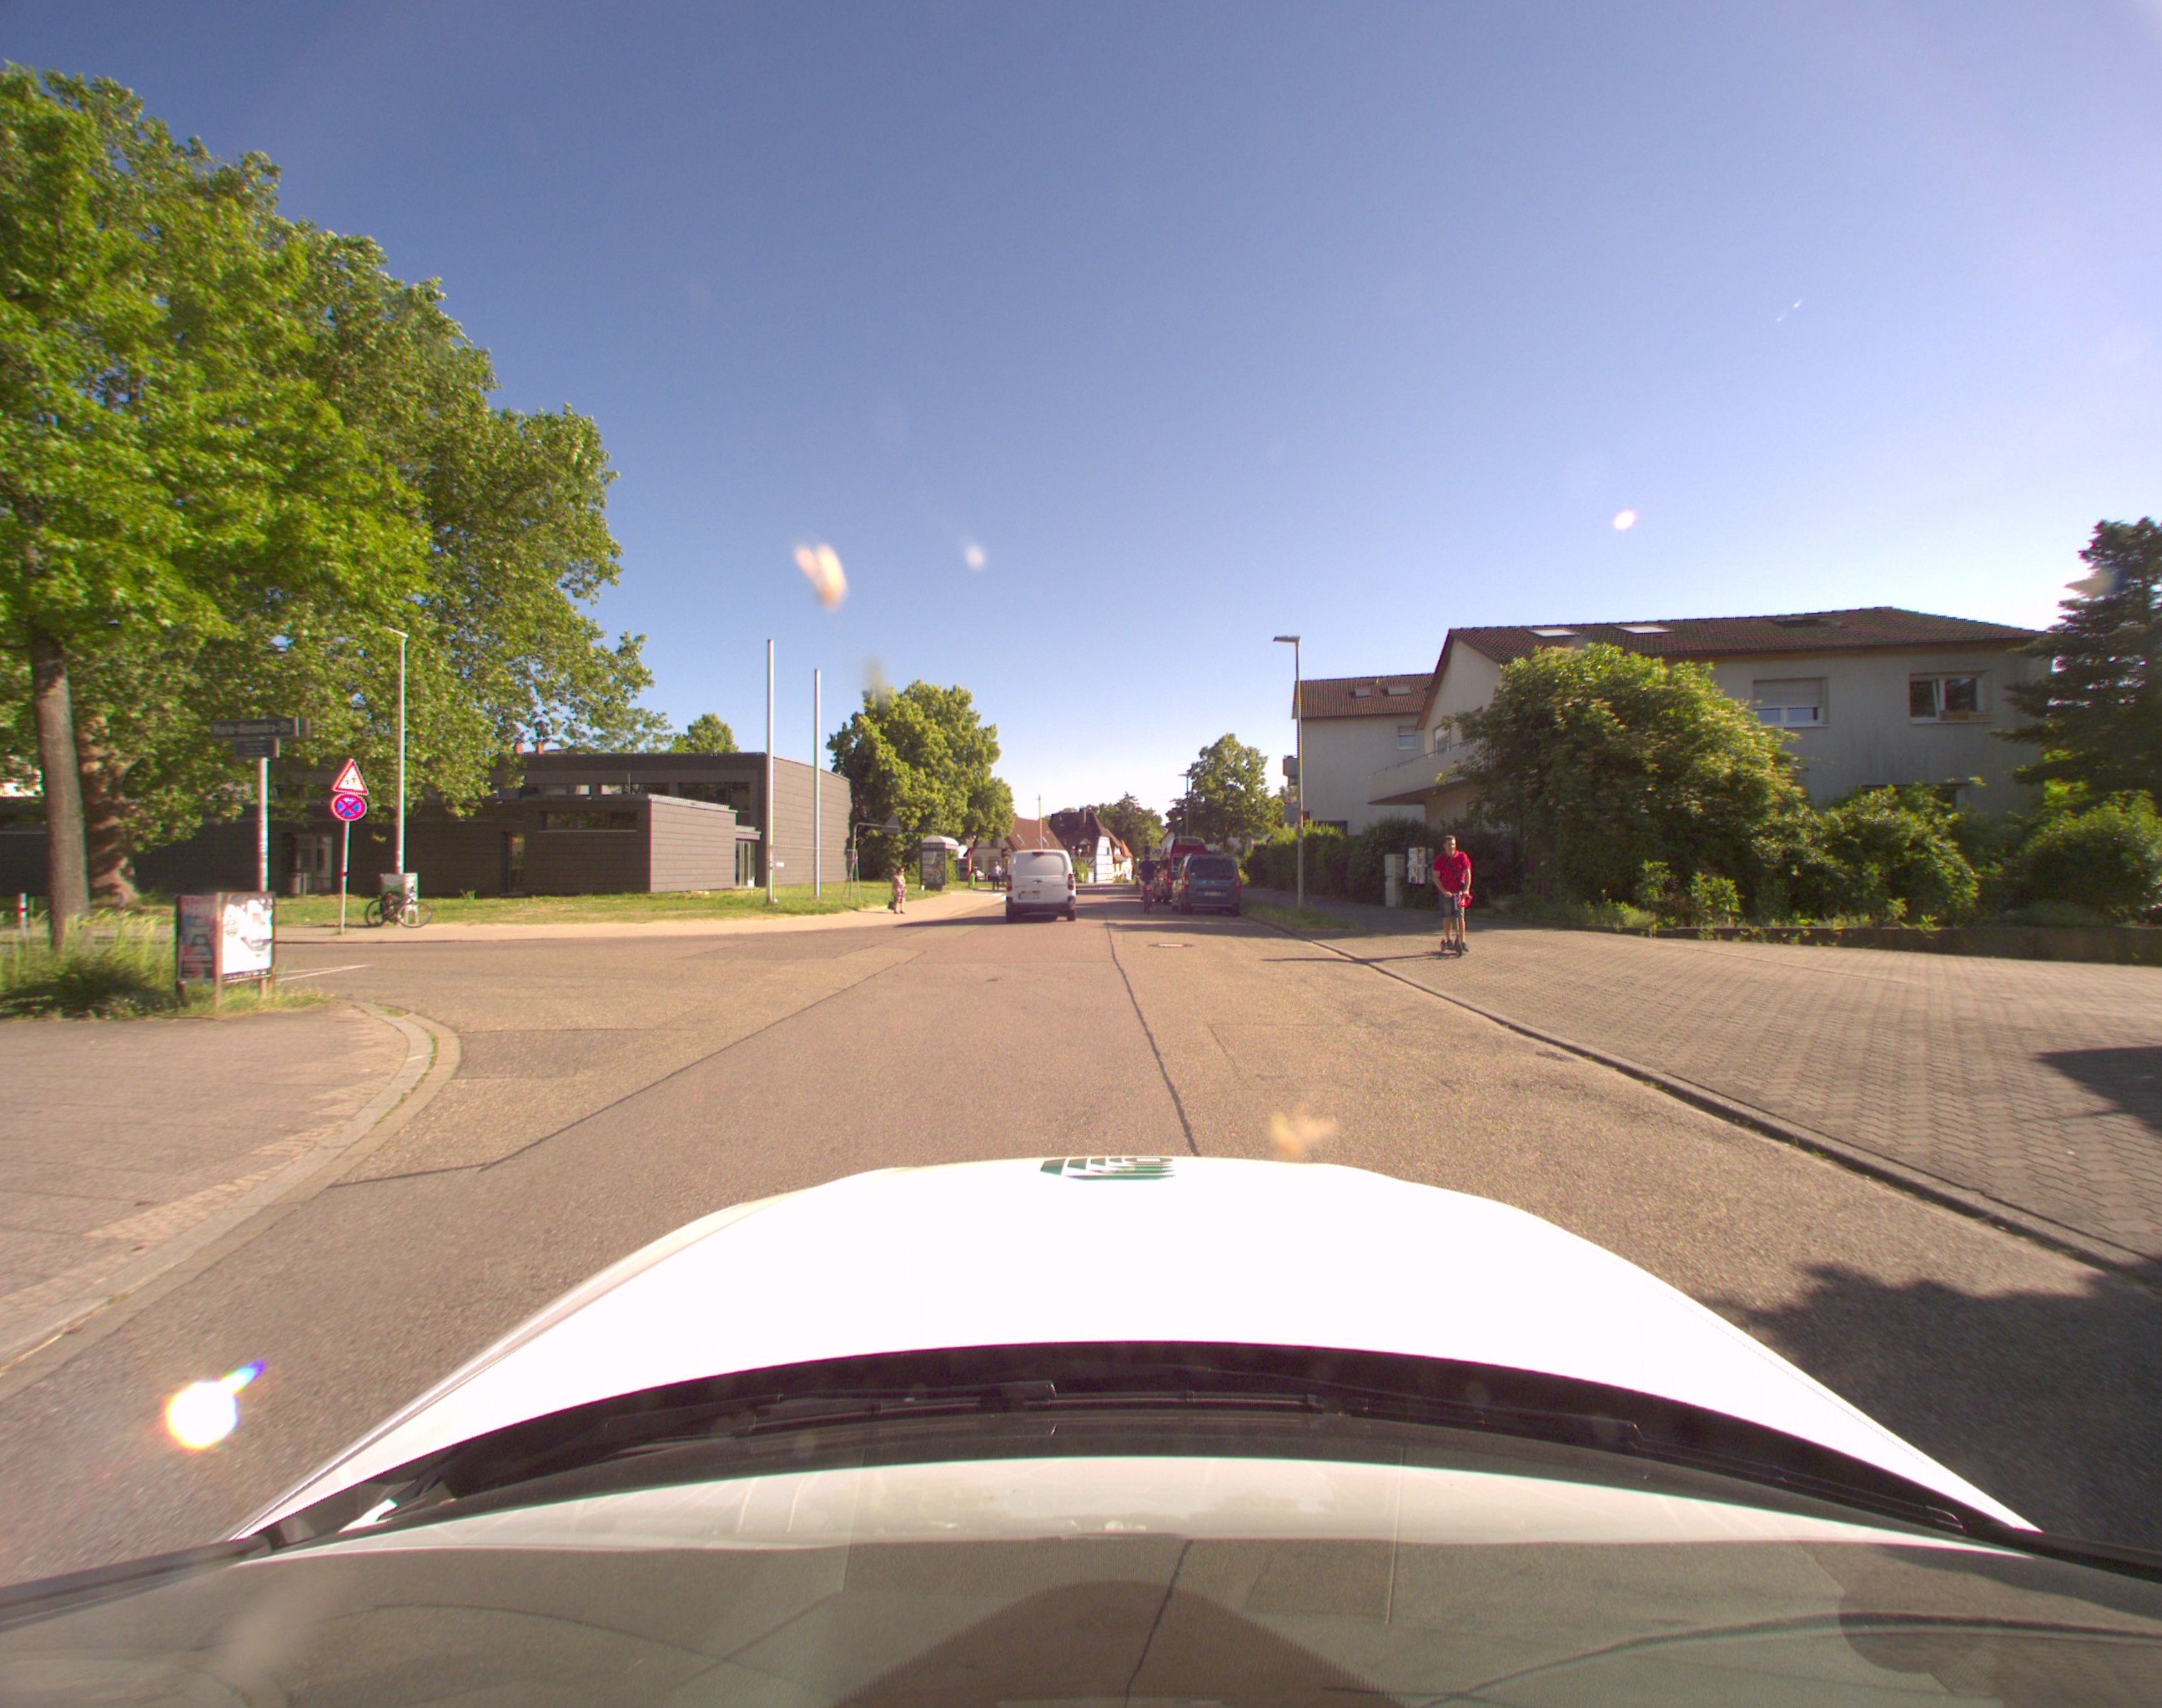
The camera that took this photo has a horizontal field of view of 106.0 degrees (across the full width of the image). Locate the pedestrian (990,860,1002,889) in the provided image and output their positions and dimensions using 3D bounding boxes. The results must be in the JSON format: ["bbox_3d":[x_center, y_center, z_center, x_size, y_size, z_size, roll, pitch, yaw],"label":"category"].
[{"bbox_3d":[-5.324,1.272,51.010,0.619,1.805,0.640,0,-2,0],"label":"pedestrian"}]

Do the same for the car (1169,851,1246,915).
[{"bbox_3d":[3.868,0.877,25.536,1.798,1.785,4.000,2,-1,1],"label":"car"}]

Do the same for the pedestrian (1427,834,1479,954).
[{"bbox_3d":[5.857,0.618,12.847,0.482,1.831,0.486,-4,0,0],"label":"pedestrian"}]

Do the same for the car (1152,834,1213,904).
[{"bbox_3d":[3.967,0.605,32.537,1.860,2.562,4.767,2,-1,1],"label":"car"}]

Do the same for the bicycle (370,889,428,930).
[{"bbox_3d":[-16.226,1.316,19.380,1.025,0.887,0.434,-2,1,-43],"label":"bicycle"}]

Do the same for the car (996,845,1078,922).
[{"bbox_3d":[-1.111,0.729,22.041,1.988,1.882,4.286,0,0,-1],"label":"car"}]

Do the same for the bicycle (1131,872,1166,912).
[{"bbox_3d":[2.026,1.121,24.689,0.785,1.138,2.278,0,-1,-2],"label":"bicycle"}]

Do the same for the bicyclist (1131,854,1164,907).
[{"bbox_3d":[2.015,0.796,24.773,0.903,1.584,0.966,0,-1,-2],"label":"bicyclist"}]

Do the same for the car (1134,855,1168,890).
[{"bbox_3d":[4.439,1.170,51.936,1.798,2.069,4.000,2,-1,1],"label":"car"}]

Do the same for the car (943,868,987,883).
[{"bbox_3d":[-11.622,2.143,81.610,3.944,1.429,1.724,0,-1,19],"label":"car"}]

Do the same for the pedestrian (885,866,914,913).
[{"bbox_3d":[-5.745,1.129,25.796,0.504,1.446,0.643,2,-1,35],"label":"pedestrian"}]
